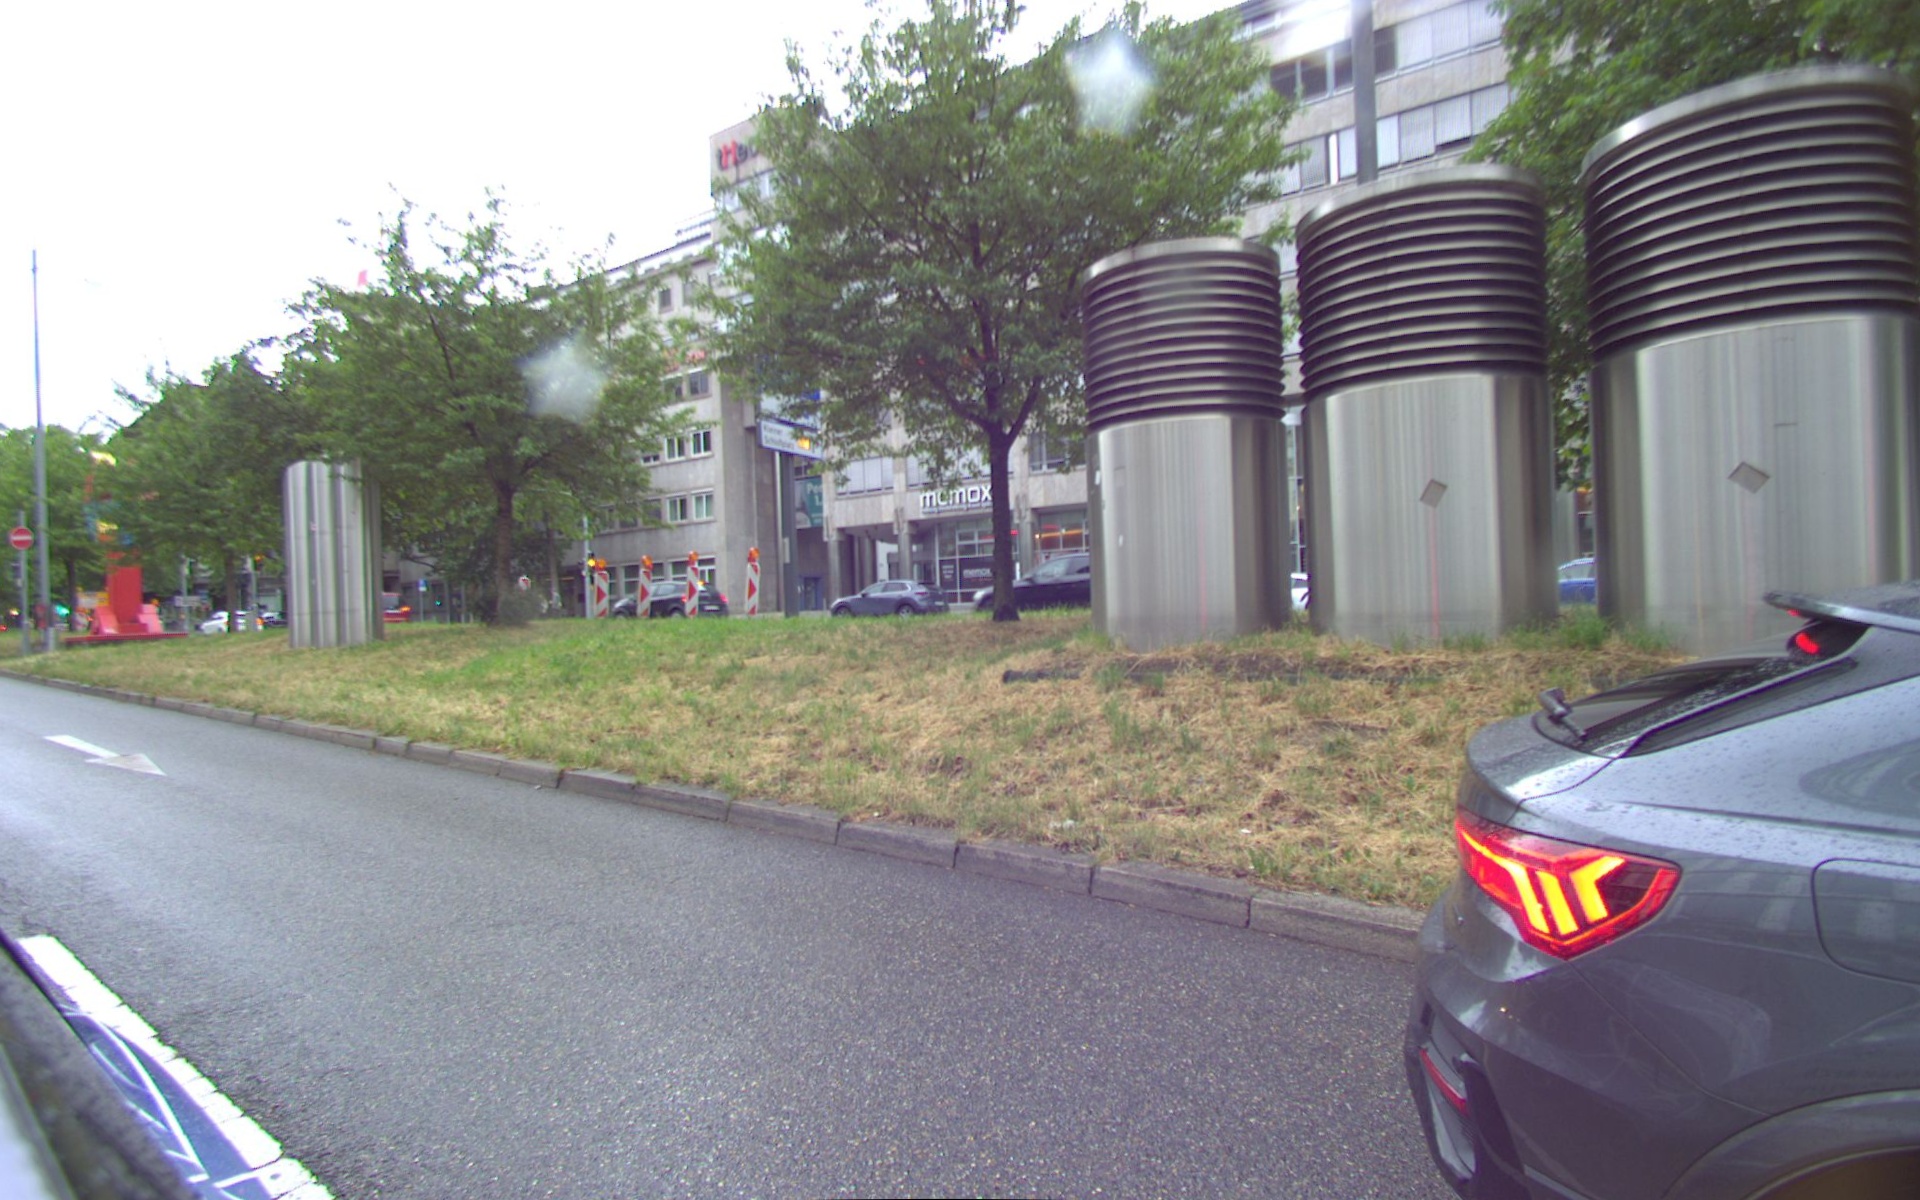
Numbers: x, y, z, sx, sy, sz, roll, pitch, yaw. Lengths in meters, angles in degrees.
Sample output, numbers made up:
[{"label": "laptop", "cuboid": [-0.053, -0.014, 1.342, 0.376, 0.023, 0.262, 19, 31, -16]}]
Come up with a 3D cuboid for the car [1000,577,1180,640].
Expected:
[{"label": "car", "cuboid": [3.658, 0.280, 29.060, 4.905, 1.634, 1.759, -2, -1, 38]}]

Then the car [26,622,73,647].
[{"label": "car", "cuboid": [-66.828, 2.550, 74.257, 3.995, 1.713, 1.926, -2, 0, 39]}]

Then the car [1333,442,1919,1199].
[{"label": "car", "cuboid": [2.828, 0.561, 0.968, 4.247, 1.628, 1.830, -2, 0, 39]}]

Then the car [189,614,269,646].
[{"label": "car", "cuboid": [-36.591, 1.492, 50.648, 4.180, 1.486, 1.805, -2, 0, 33]}]

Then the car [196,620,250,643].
[{"label": "car", "cuboid": [-50.476, 2.170, 69.278, 4.568, 1.498, 1.769, -2, -1, 38]}]

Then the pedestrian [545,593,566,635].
[{"label": "pedestrian", "cuboid": [-18.082, 0.625, 45.218, 0.721, 1.801, 0.522, -2, 0, 42]}]

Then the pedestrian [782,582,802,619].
[{"label": "pedestrian", "cuboid": [-8.385, 0.020, 50.547, 0.528, 1.801, 0.712, -2, 0, 38]}]

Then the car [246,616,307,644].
[{"label": "car", "cuboid": [-42.892, 1.904, 63.484, 4.461, 1.634, 1.844, -2, -1, 38]}]

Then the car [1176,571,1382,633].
[{"label": "car", "cuboid": [8.056, 0.090, 25.800, 4.677, 1.412, 1.759, -2, -1, 38]}]

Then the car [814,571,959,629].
[{"label": "car", "cuboid": [-2.507, 0.019, 33.663, 4.785, 1.739, 1.844, -2, -1, 38]}]

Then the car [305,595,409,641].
[{"label": "car", "cuboid": [-24.229, 0.731, 40.628, 4.568, 1.740, 1.711, -2, 0, 33]}]

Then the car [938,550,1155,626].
[{"label": "car", "cuboid": [1.860, -0.246, 22.187, 4.368, 1.497, 1.791, -2, 2, 32]}]

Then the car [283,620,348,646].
[{"label": "car", "cuboid": [-38.572, 2.007, 60.560, 4.559, 1.440, 1.844, -2, -1, 38]}]

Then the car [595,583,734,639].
[{"label": "car", "cuboid": [-8.772, 0.341, 29.922, 3.990, 1.497, 1.790, -1, 2, 35]}]

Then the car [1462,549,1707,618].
[{"label": "car", "cuboid": [13.843, -0.332, 22.625, 4.465, 1.335, 1.876, -2, 0, 34]}]

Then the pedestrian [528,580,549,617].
[{"label": "pedestrian", "cuboid": [-18.996, -0.061, 45.640, 0.619, 1.641, 0.599, -2, 0, 41]}]
